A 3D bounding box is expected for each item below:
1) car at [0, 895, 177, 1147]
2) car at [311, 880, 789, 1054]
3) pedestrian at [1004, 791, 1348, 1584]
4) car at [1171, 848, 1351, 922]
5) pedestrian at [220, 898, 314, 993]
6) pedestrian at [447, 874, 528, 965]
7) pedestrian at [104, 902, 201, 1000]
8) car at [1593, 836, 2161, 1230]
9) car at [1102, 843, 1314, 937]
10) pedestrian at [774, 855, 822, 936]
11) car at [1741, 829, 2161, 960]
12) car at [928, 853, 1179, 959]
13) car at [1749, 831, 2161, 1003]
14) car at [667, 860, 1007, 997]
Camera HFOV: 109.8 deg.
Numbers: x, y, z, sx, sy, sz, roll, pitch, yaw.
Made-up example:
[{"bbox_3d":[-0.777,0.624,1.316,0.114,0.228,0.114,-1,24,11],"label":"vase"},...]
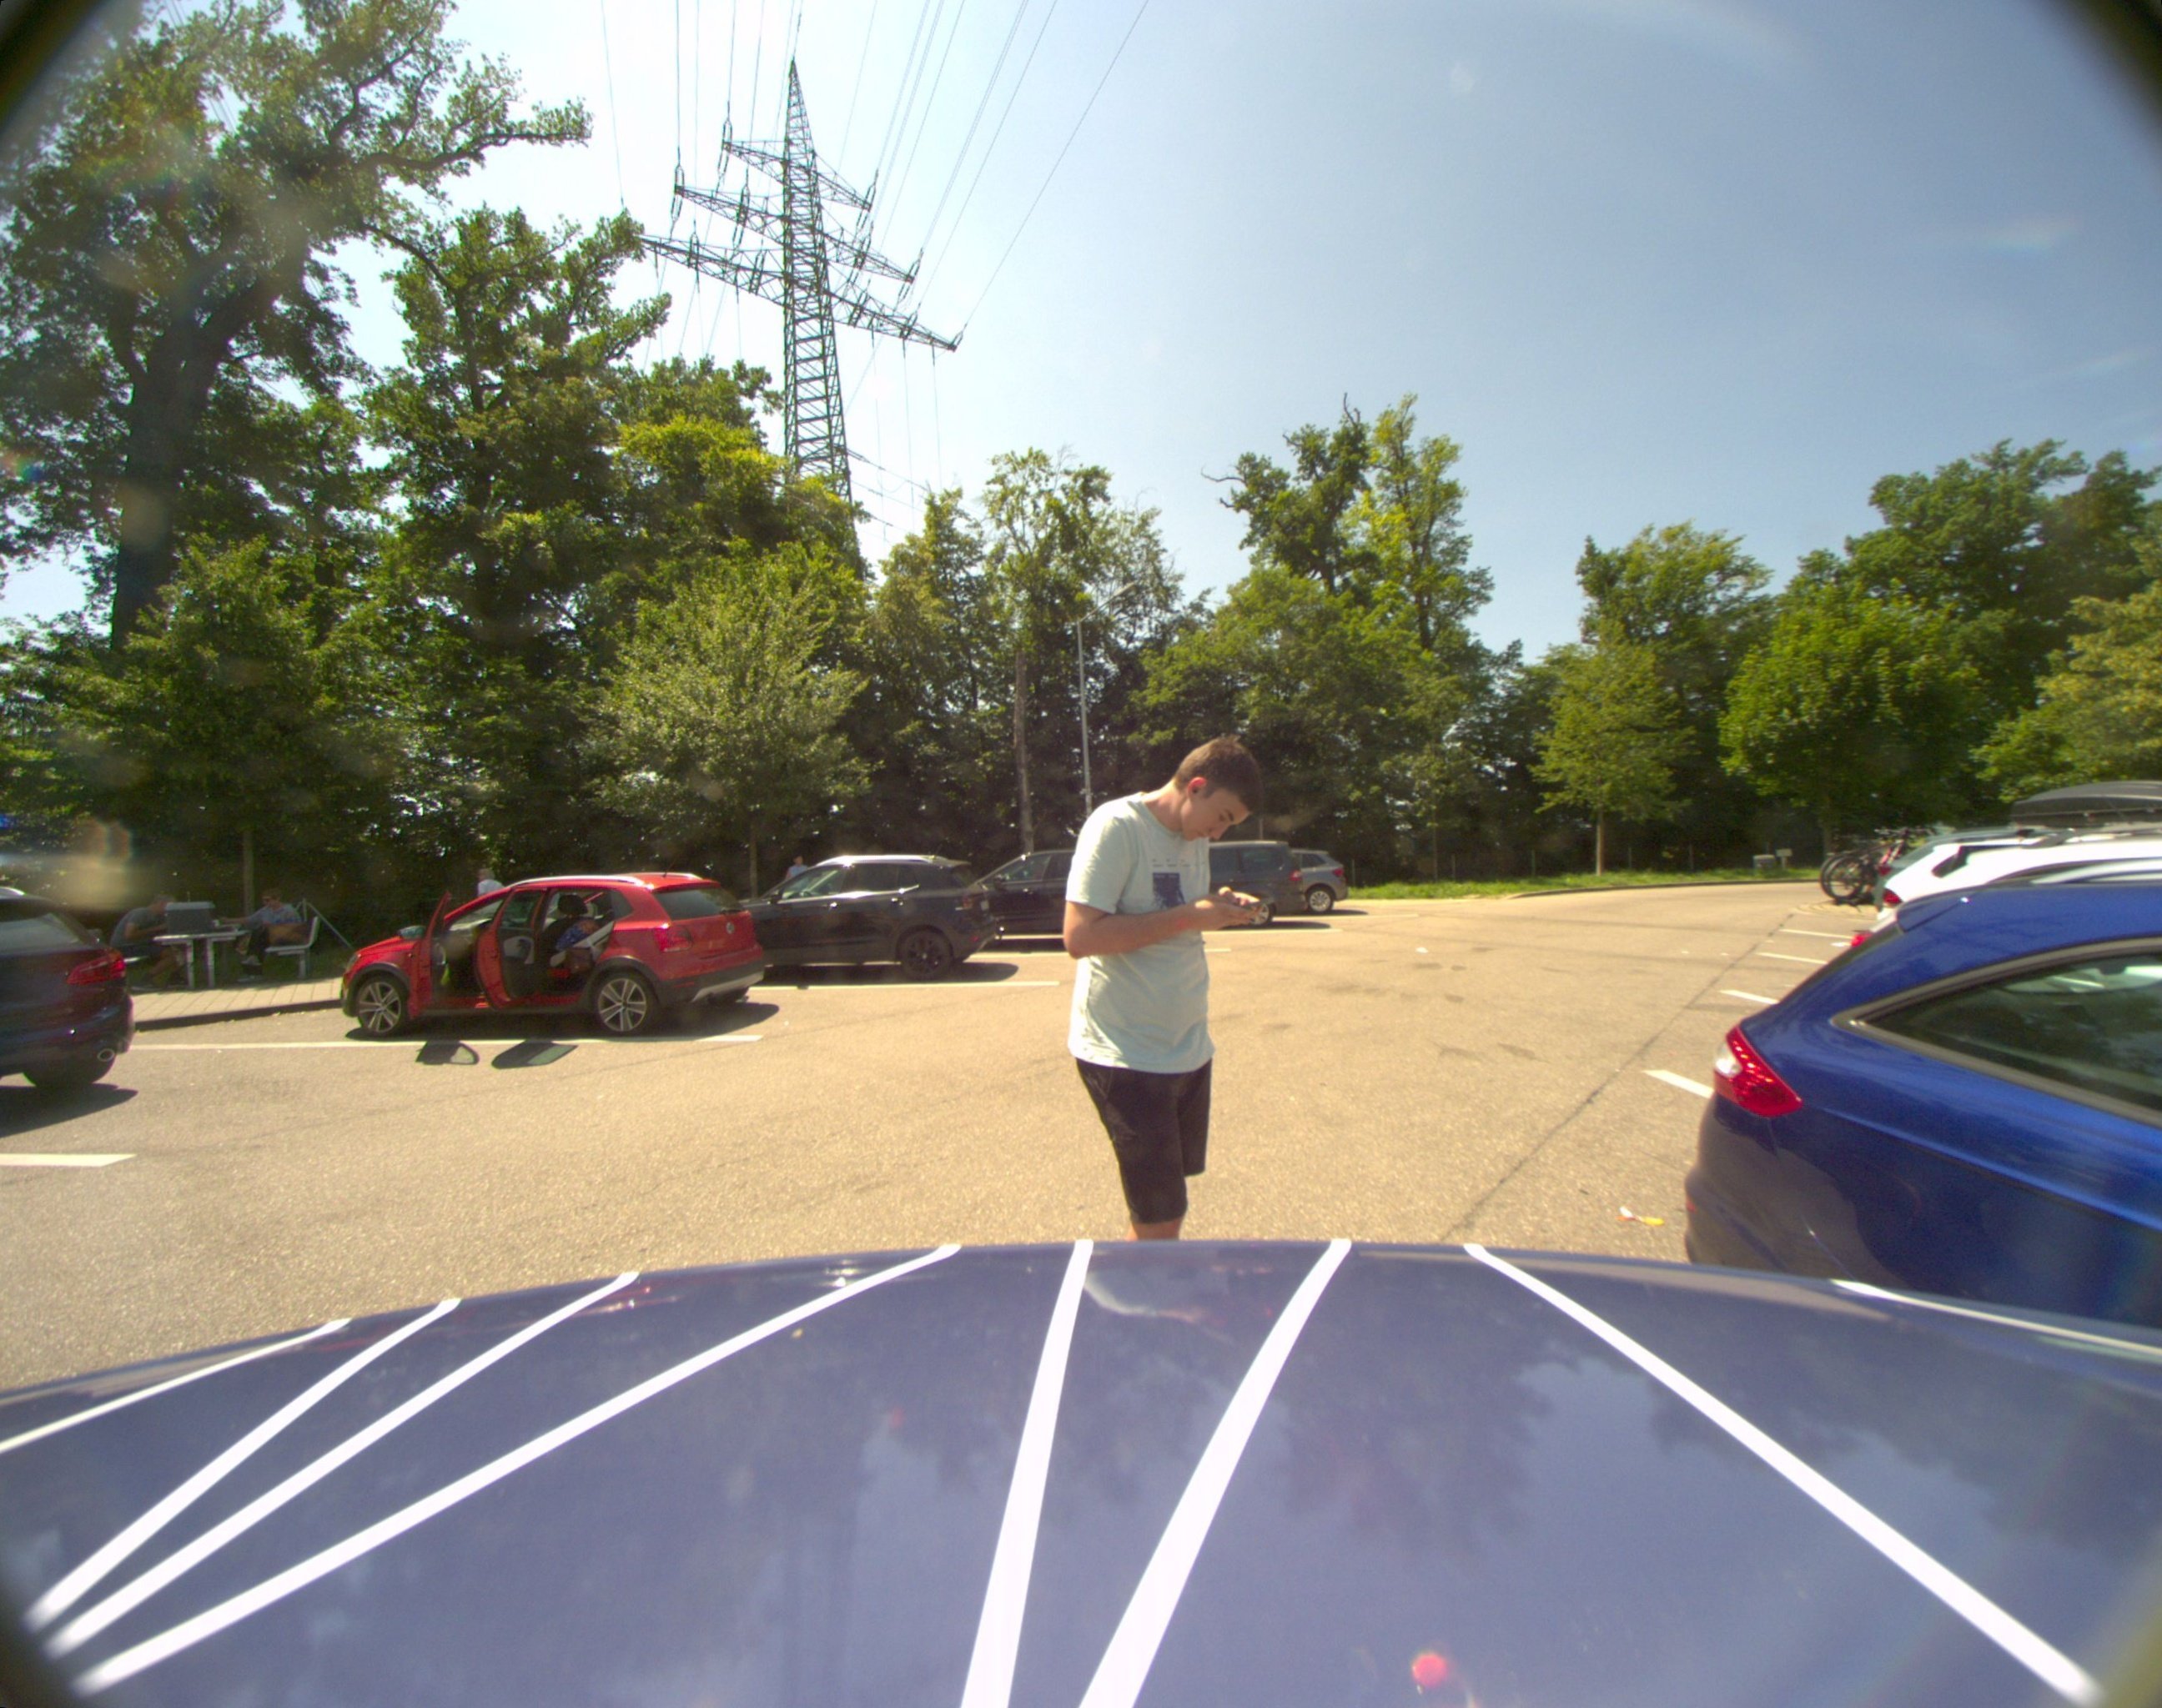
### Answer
[{"bbox_3d":[-8.919,1.161,5.006,4.011,1.558,1.846,-2,0,6],"label":"car"},{"bbox_3d":[-5.194,1.076,7.724,3.704,1.448,1.781,-2,0,7],"label":"car"},{"bbox_3d":[0.209,0.729,1.940,0.687,1.699,0.578,-2,0,1],"label":"pedestrian"},{"bbox_3d":[4.177,0.717,18.206,3.964,1.577,1.781,-2,0,7],"label":"car"},{"bbox_3d":[-11.847,1.306,11.067,0.828,1.287,0.672,-2,0,24],"label":"pedestrian"},{"bbox_3d":[-10.832,1.171,13.882,0.808,1.584,0.776,-2,0,9],"label":"pedestrian"},{"bbox_3d":[-12.859,1.316,10.533,0.652,1.262,0.672,-2,0,24],"label":"pedestrian"},{"bbox_3d":[4.905,0.659,3.670,1.779,1.456,4.470,-2,-1,0],"label":"car"},{"bbox_3d":[2.508,0.701,15.454,3.964,1.678,1.781,-2,0,7],"label":"car"},{"bbox_3d":[-5.823,0.837,15.676,0.715,1.584,0.809,-2,0,-8],"label":"pedestrian"},{"bbox_3d":[12.364,0.478,10.946,1.779,1.456,4.470,-2,-1,0],"label":"car"},{"bbox_3d":[-0.378,0.846,12.969,3.964,1.582,1.781,-2,0,8],"label":"car"},{"bbox_3d":[10.062,0.535,8.161,1.779,1.456,4.470,-2,-1,0],"label":"car"},{"bbox_3d":[-3.147,0.942,10.383,3.966,1.582,1.841,-2,0,3],"label":"car"}]
